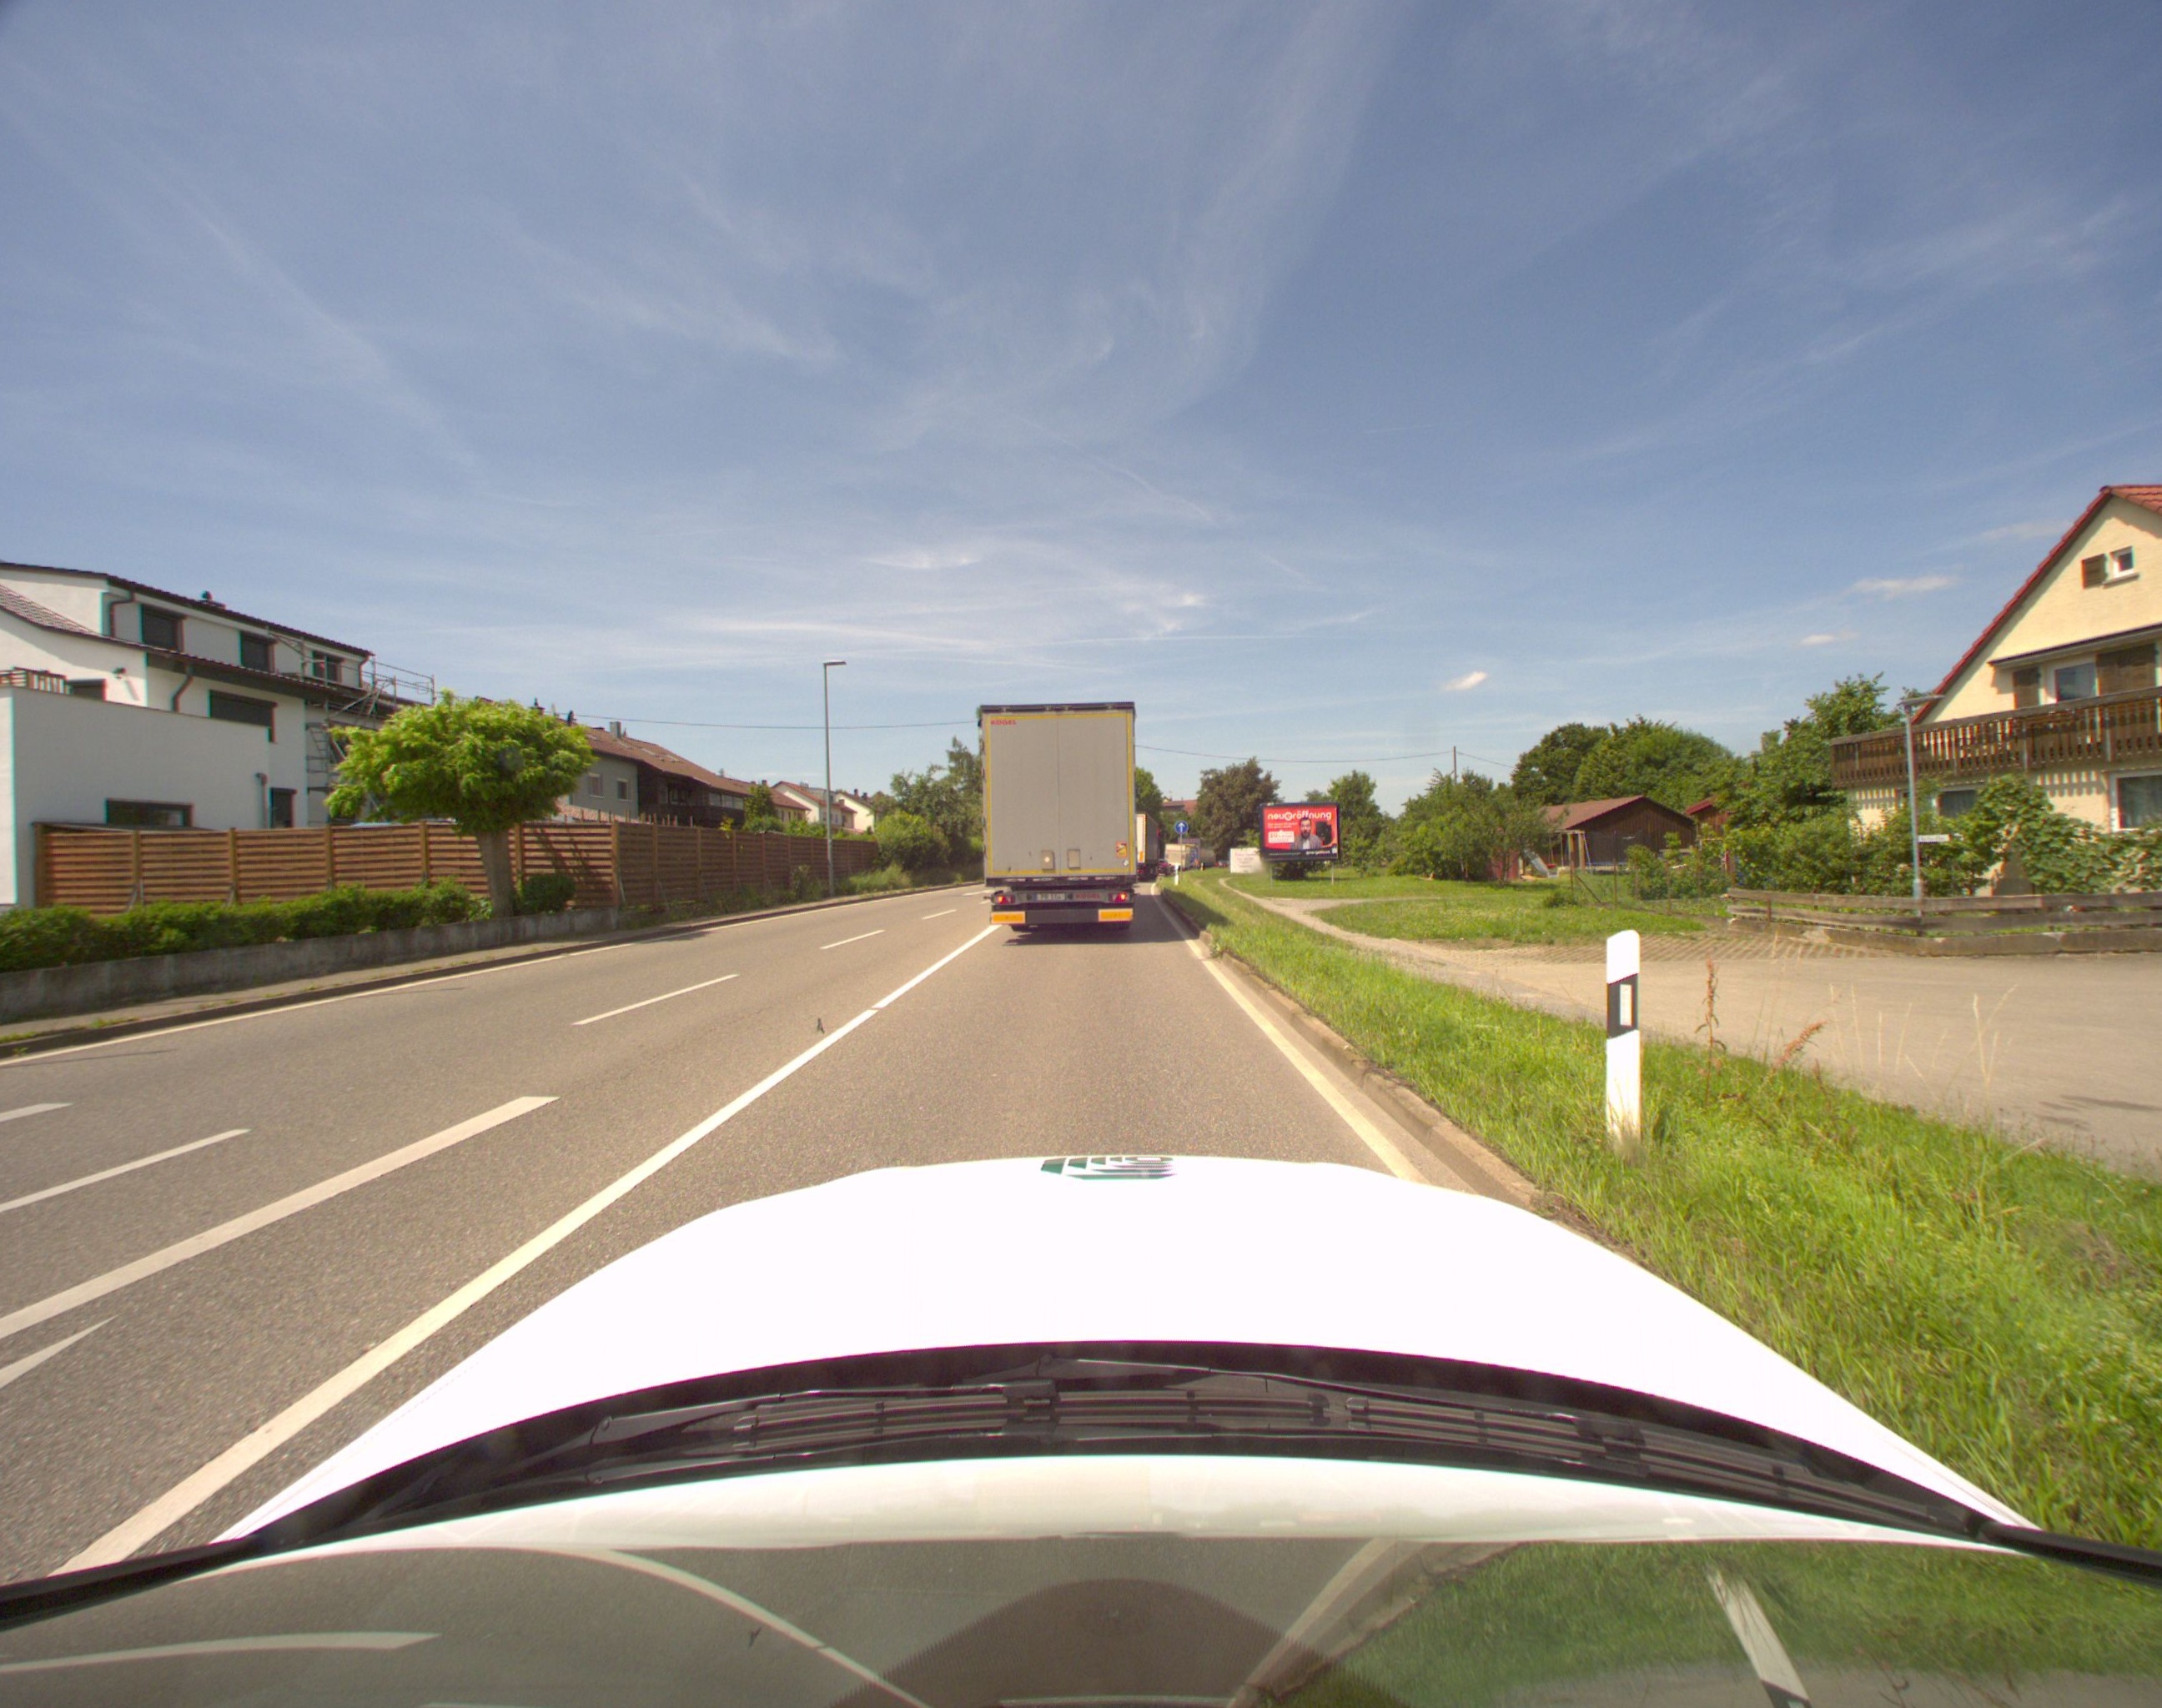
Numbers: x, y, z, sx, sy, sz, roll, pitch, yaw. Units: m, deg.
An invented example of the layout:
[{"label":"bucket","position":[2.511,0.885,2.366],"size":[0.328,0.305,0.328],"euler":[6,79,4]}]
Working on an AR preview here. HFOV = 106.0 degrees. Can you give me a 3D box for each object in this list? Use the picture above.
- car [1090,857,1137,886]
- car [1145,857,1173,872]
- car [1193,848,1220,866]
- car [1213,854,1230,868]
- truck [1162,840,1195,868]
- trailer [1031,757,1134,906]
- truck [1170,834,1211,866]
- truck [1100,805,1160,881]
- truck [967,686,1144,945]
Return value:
[{"label":"car","position":[1.626,0.825,39.510],"size":[1.808,1.346,3.856],"euler":[0,-1,9]},{"label":"car","position":[7.124,0.970,73.961],"size":[1.980,1.376,4.014],"euler":[0,-1,13]},{"label":"car","position":[16.490,0.362,106.761],"size":[2.512,2.277,6.409],"euler":[0,0,17]},{"label":"car","position":[20.475,0.980,118.844],"size":[1.978,2.014,4.017],"euler":[-1,-1,17]},{"label":"truck","position":[10.241,0.003,85.347],"size":[2.524,2.803,6.056],"euler":[-1,-1,15]},{"label":"trailer","position":[0.193,-0.627,26.019],"size":[2.814,4.111,6.548],"euler":[-1,0,2]},{"label":"truck","position":[13.170,-0.491,96.824],"size":[3.406,3.604,9.394],"euler":[-1,0,16]},{"label":"truck","position":[3.595,-0.524,54.548],"size":[2.745,4.289,16.450],"euler":[0,-1,8]},{"label":"truck","position":[-0.145,-0.636,18.800],"size":[2.811,4.127,11.451],"euler":[0,0,3]}]
